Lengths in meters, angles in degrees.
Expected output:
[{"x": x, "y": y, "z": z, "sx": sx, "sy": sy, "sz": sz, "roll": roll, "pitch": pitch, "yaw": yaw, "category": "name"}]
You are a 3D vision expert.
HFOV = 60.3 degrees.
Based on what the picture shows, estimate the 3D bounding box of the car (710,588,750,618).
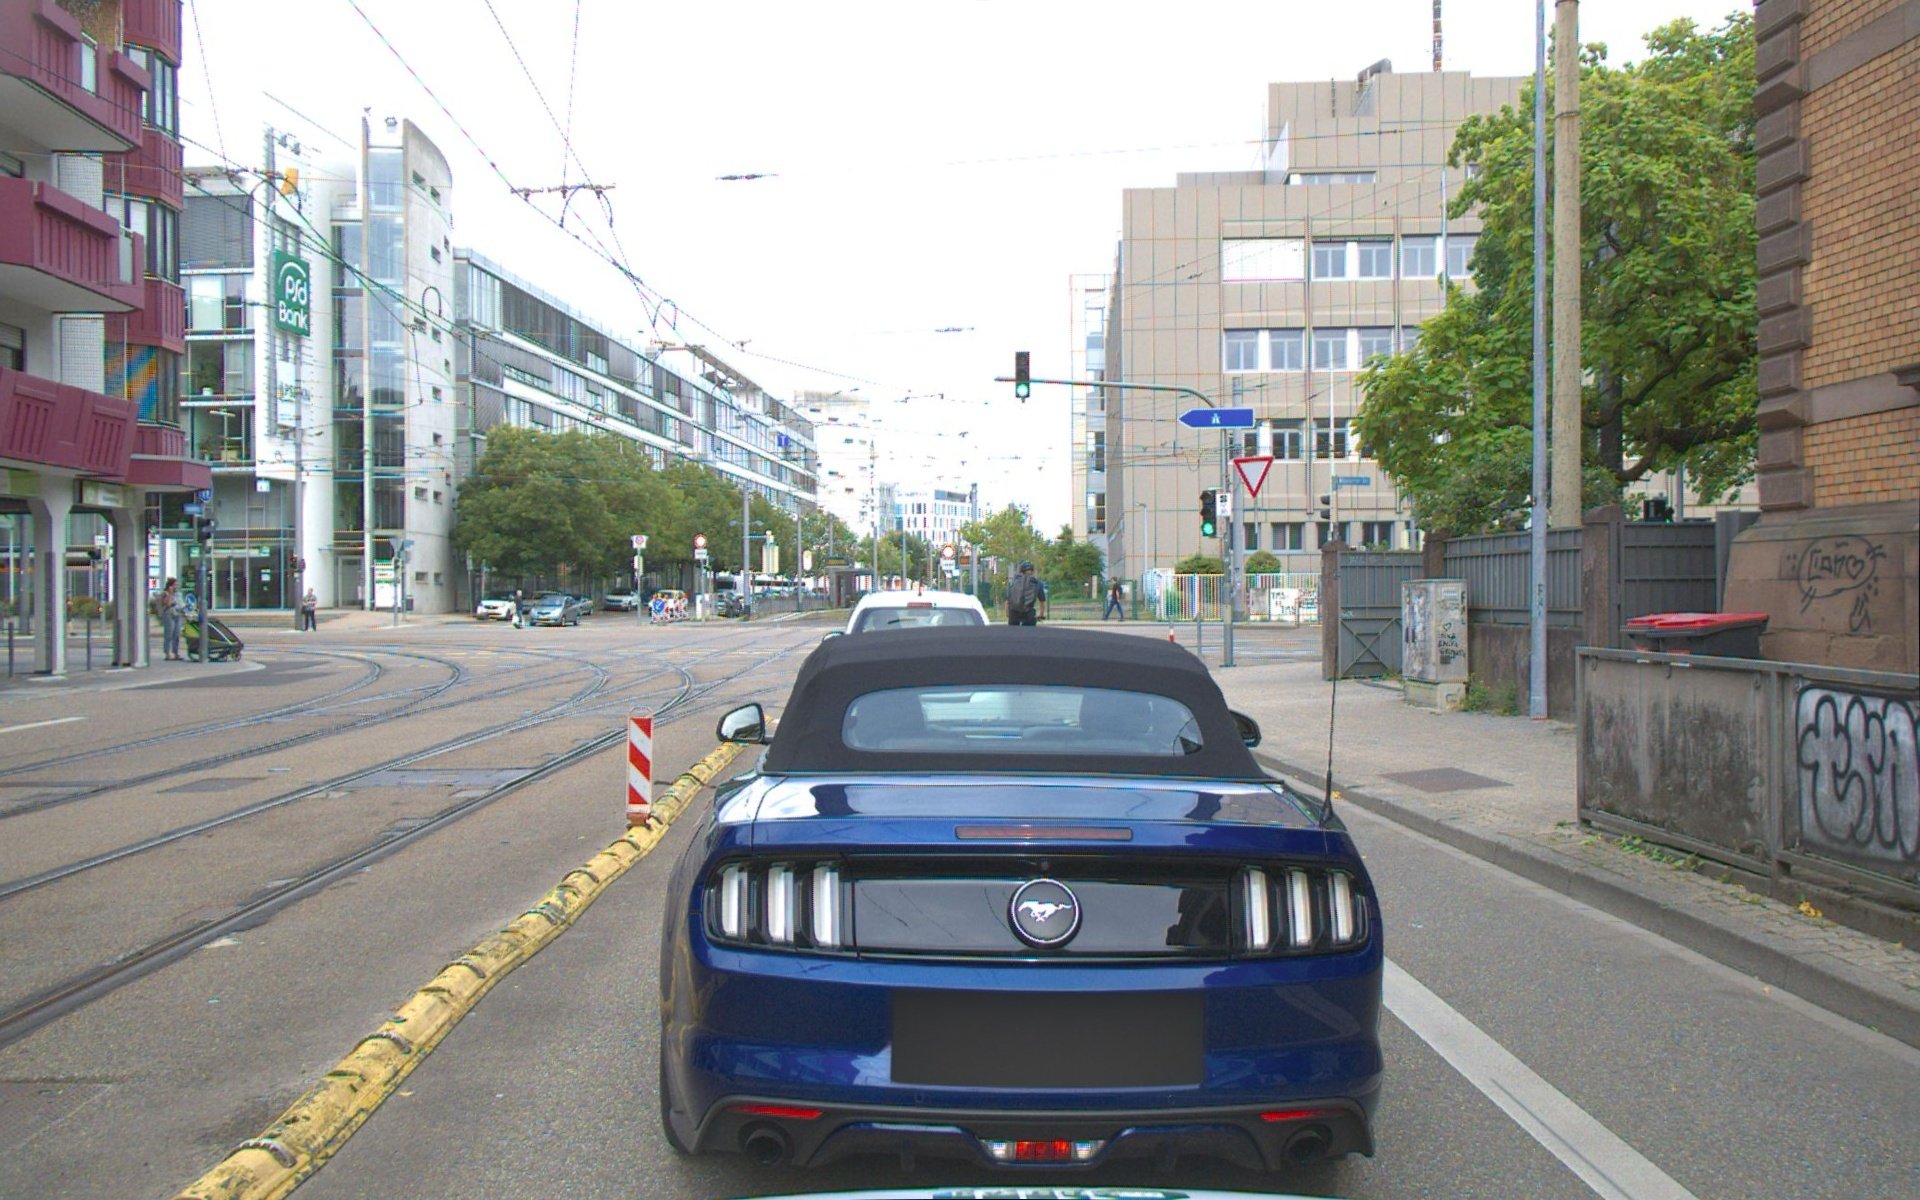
[{"x": -13.466, "y": 0.152, "z": 97.039, "sx": 1.841, "sy": 1.657, "sz": 4.086, "roll": -1, "pitch": 0, "yaw": -1, "category": "car"}]

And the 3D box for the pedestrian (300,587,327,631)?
[{"x": -28.066, "y": 0.403, "z": 71.803, "sx": 0.816, "sy": 1.897, "sz": 0.766, "roll": -1, "pitch": 0, "yaw": 11, "category": "pedestrian"}]

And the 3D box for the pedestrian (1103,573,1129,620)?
[{"x": 6.613, "y": -0.153, "z": 70.055, "sx": 1.063, "sy": 1.931, "sz": 0.902, "roll": -1, "pitch": 0, "yaw": 5, "category": "pedestrian"}]

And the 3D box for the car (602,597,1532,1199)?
[{"x": 0.197, "y": 0.731, "z": 5.434, "sx": 1.838, "sy": 1.428, "sz": 4.282, "roll": 1, "pitch": 0, "yaw": -1, "category": "car"}]

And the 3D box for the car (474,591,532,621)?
[{"x": -24.996, "y": 0.311, "z": 90.595, "sx": 1.791, "sy": 1.584, "sz": 4.218, "roll": 1, "pitch": 1, "yaw": 3, "category": "car"}]

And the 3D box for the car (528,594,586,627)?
[{"x": -20.147, "y": 0.505, "z": 82.787, "sx": 1.633, "sy": 1.533, "sz": 4.236, "roll": 1, "pitch": 1, "yaw": 3, "category": "car"}]

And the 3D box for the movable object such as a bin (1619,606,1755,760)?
[{"x": 5.545, "y": 0.617, "z": 12.642, "sx": 0.638, "sy": 1.101, "sz": 0.677, "roll": -4, "pitch": 0, "yaw": -6, "category": "movable object such as a bin"}]

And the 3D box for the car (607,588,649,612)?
[{"x": -23.228, "y": -0.043, "z": 115.986, "sx": 1.945, "sy": 1.584, "sz": 4.513, "roll": 1, "pitch": 1, "yaw": 0, "category": "car"}]

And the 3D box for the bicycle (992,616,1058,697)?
[{"x": 0.944, "y": 0.813, "z": 24.497, "sx": 0.784, "sy": 1.105, "sz": 2.130, "roll": -1, "pitch": 0, "yaw": -3, "category": "bicycle"}]

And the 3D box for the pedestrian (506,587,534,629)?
[{"x": -20.349, "y": 0.358, "z": 76.488, "sx": 0.968, "sy": 1.888, "sz": 0.902, "roll": -1, "pitch": 0, "yaw": 6, "category": "pedestrian"}]

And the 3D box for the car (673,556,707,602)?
[{"x": -22.025, "y": -1.703, "z": 135.021, "sx": 1.945, "sy": 3.700, "sz": 4.513, "roll": 1, "pitch": 0, "yaw": 0, "category": "car"}]

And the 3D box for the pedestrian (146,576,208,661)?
[{"x": -16.489, "y": 0.386, "z": 34.861, "sx": 0.929, "sy": 1.774, "sz": 0.811, "roll": 0, "pitch": 0, "yaw": -5, "category": "pedestrian"}]

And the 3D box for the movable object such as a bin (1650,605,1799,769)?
[{"x": 5.497, "y": 0.609, "z": 11.925, "sx": 0.650, "sy": 1.101, "sz": 0.700, "roll": -4, "pitch": 0, "yaw": -6, "category": "movable object such as a bin"}]

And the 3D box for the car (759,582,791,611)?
[{"x": -12.906, "y": -0.256, "z": 115.626, "sx": 1.749, "sy": 2.022, "sz": 4.120, "roll": -1, "pitch": 0, "yaw": -1, "category": "car"}]

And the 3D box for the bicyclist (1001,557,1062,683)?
[{"x": 1.054, "y": 0.285, "z": 24.594, "sx": 0.780, "sy": 1.816, "sz": 1.232, "roll": -1, "pitch": 0, "yaw": -3, "category": "bicyclist"}]

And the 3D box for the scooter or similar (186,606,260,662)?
[{"x": -15.566, "y": 0.711, "z": 34.953, "sx": 1.172, "sy": 1.148, "sz": 0.946, "roll": 0, "pitch": 0, "yaw": -3, "category": "scooter or similar"}]

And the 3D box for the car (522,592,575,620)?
[{"x": -24.297, "y": 0.334, "z": 97.772, "sx": 1.791, "sy": 1.584, "sz": 4.218, "roll": 1, "pitch": 1, "yaw": 3, "category": "car"}]

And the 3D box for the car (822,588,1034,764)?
[{"x": -0.441, "y": 0.632, "z": 16.217, "sx": 1.799, "sy": 1.464, "sz": 4.183, "roll": -1, "pitch": 0, "yaw": -5, "category": "car"}]

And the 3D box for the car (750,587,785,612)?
[{"x": -12.848, "y": -0.037, "z": 110.583, "sx": 1.830, "sy": 1.634, "sz": 4.212, "roll": -1, "pitch": 0, "yaw": -1, "category": "car"}]

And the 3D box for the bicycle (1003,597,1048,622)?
[{"x": 2.885, "y": 0.431, "z": 72.754, "sx": 0.629, "sy": 0.998, "sz": 2.125, "roll": -1, "pitch": -2, "yaw": -42, "category": "bicycle"}]

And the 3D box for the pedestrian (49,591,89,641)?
[{"x": -30.632, "y": 0.555, "z": 56.870, "sx": 0.915, "sy": 1.700, "sz": 0.766, "roll": -1, "pitch": 0, "yaw": 11, "category": "pedestrian"}]
